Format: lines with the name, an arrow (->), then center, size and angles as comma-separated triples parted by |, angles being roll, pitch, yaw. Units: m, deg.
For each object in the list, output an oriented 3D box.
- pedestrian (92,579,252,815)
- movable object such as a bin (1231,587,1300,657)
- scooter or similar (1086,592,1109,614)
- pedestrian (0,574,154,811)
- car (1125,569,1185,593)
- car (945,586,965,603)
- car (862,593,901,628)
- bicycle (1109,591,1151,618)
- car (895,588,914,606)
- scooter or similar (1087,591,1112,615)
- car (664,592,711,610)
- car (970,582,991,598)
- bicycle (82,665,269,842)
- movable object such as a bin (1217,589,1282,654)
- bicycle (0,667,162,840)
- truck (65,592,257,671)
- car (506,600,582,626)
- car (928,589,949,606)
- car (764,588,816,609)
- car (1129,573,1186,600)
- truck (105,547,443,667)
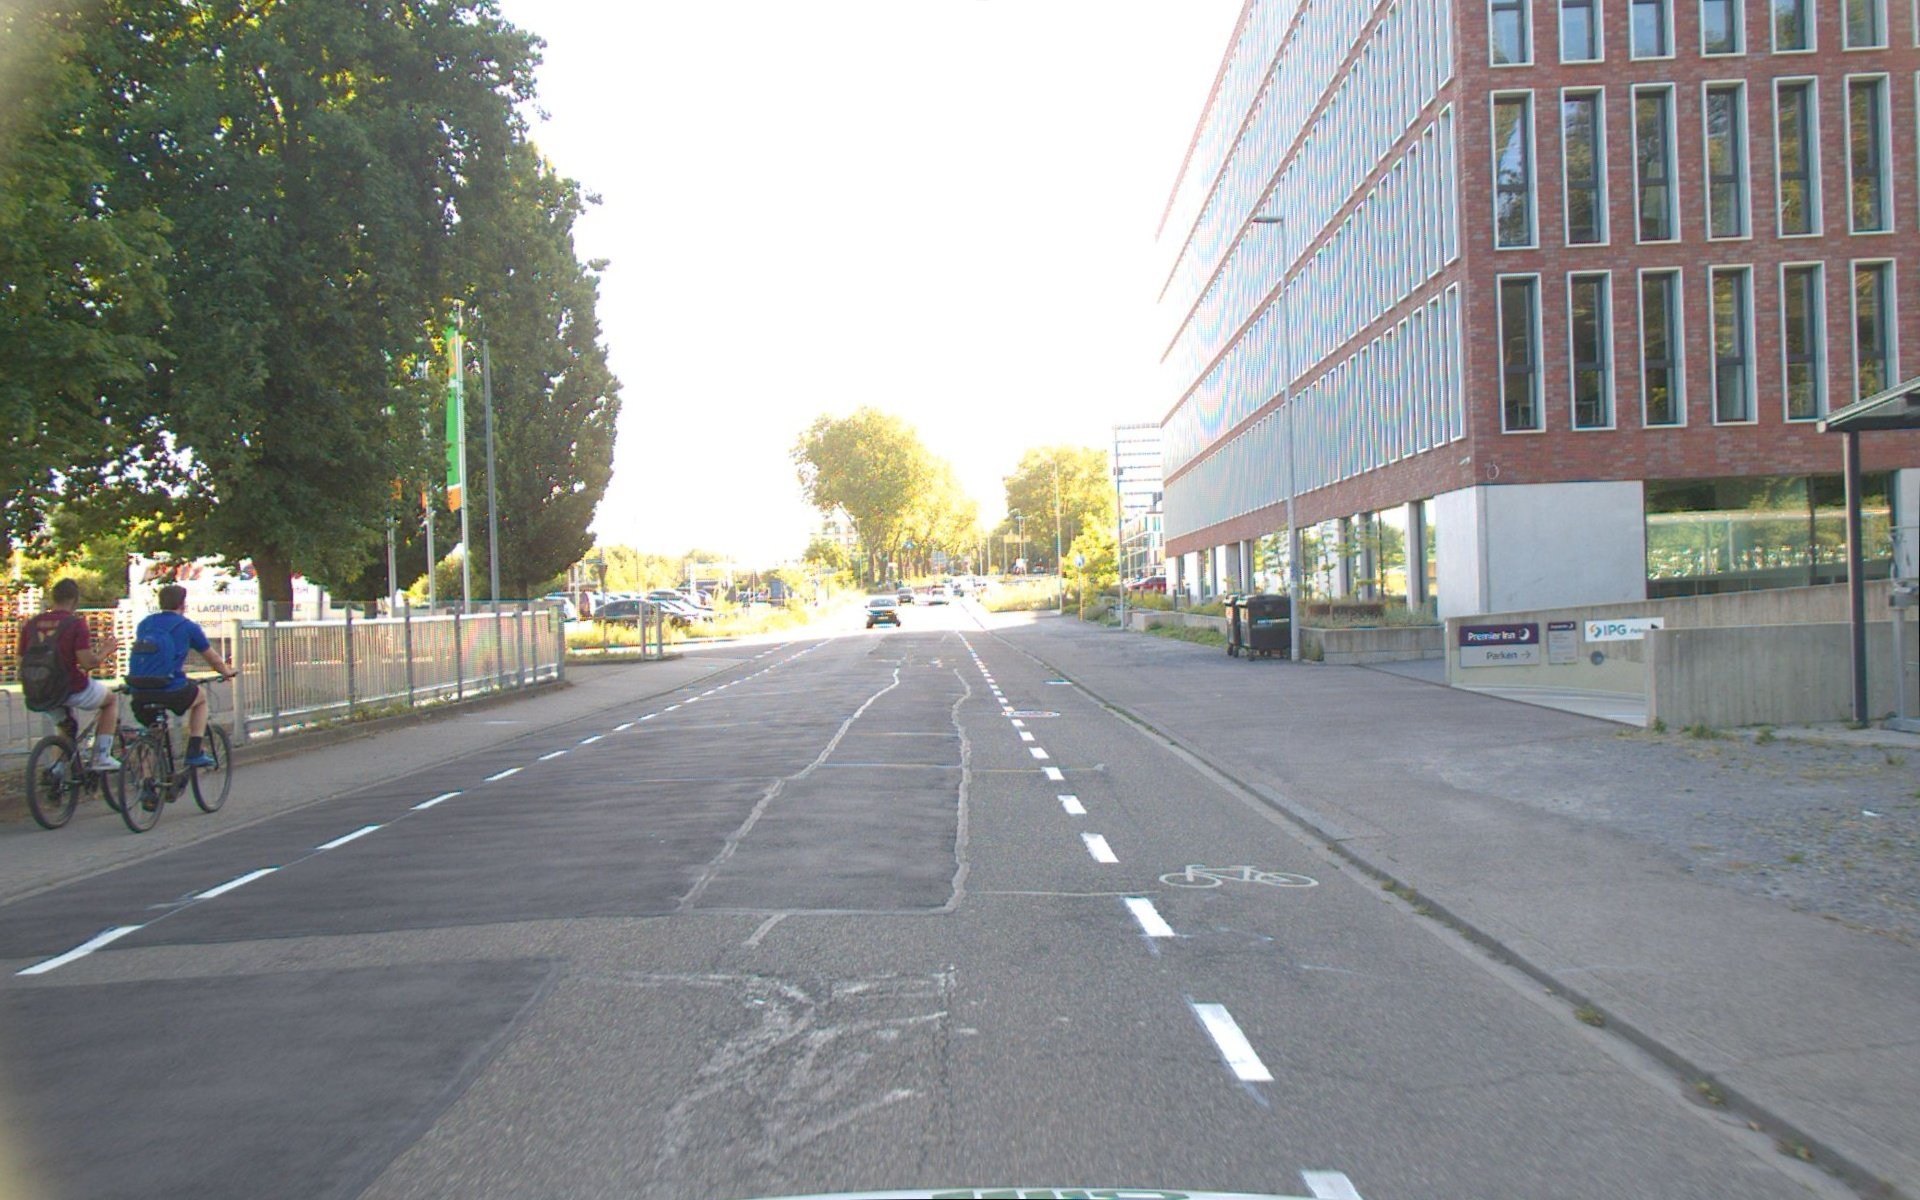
pedestrian -> -6.158, 0.730, 12.984 | 0.706, 1.751, 1.057 | -2, 0, -1
movable object such as a bin -> 6.336, 0.446, 34.378 | 1.106, 1.395, 1.345 | -2, 0, -2
scooter or similar -> 7.477, 0.157, 90.076 | 1.217, 1.176, 0.366 | -1, 0, 3
pedestrian -> -6.927, 0.690, 12.914 | 0.706, 1.751, 1.057 | -2, 0, -1
car -> 13.891, -1.376, 117.855 | 4.097, 1.608, 1.852 | -1, 1, 2
car -> -0.510, -0.552, 174.750 | 2.119, 1.713, 4.000 | -1, 0, 0
car -> -3.946, 0.530, 83.838 | 1.706, 1.552, 4.110 | -5, 1, -1
bicycle -> 7.896, 0.215, 76.792 | 1.895, 1.190, 0.375 | -1, 0, -7
car -> -5.155, -0.286, 153.297 | 1.620, 1.529, 3.999 | -3, 0, -1
scooter or similar -> 7.458, 0.146, 88.518 | 1.312, 1.267, 0.424 | -1, 0, 3
car -> -26.790, 0.111, 162.680 | 4.234, 1.646, 1.878 | -1, 1, -2
car -> 2.226, -1.078, 180.067 | 2.119, 1.713, 4.001 | -1, 0, 2
bicycle -> -6.075, 1.142, 12.940 | 0.437, 1.168, 2.200 | 0, 0, -1
movable object such as a bin -> 6.306, 0.459, 36.067 | 1.106, 1.359, 1.345 | -2, 0, -2
bicycle -> -6.929, 1.155, 12.971 | 0.460, 1.168, 1.869 | 0, 0, -1
truck -> -31.703, 1.213, 65.800 | 6.365, 2.856, 2.315 | -2, 0, -3
car -> -26.303, 0.820, 104.677 | 4.278, 1.572, 1.857 | -1, 1, 0
car -> -1.896, -0.222, 145.602 | 1.753, 1.445, 4.000 | -1, 0, 0
car -> -16.140, -0.152, 157.076 | 4.747, 1.867, 1.999 | -1, 1, -2
car -> 14.836, -1.010, 124.668 | 4.097, 1.608, 1.852 | -2, -7, 2
truck -> -22.503, 0.218, 54.609 | 9.895, 3.678, 2.775 | -1, -1, -2
